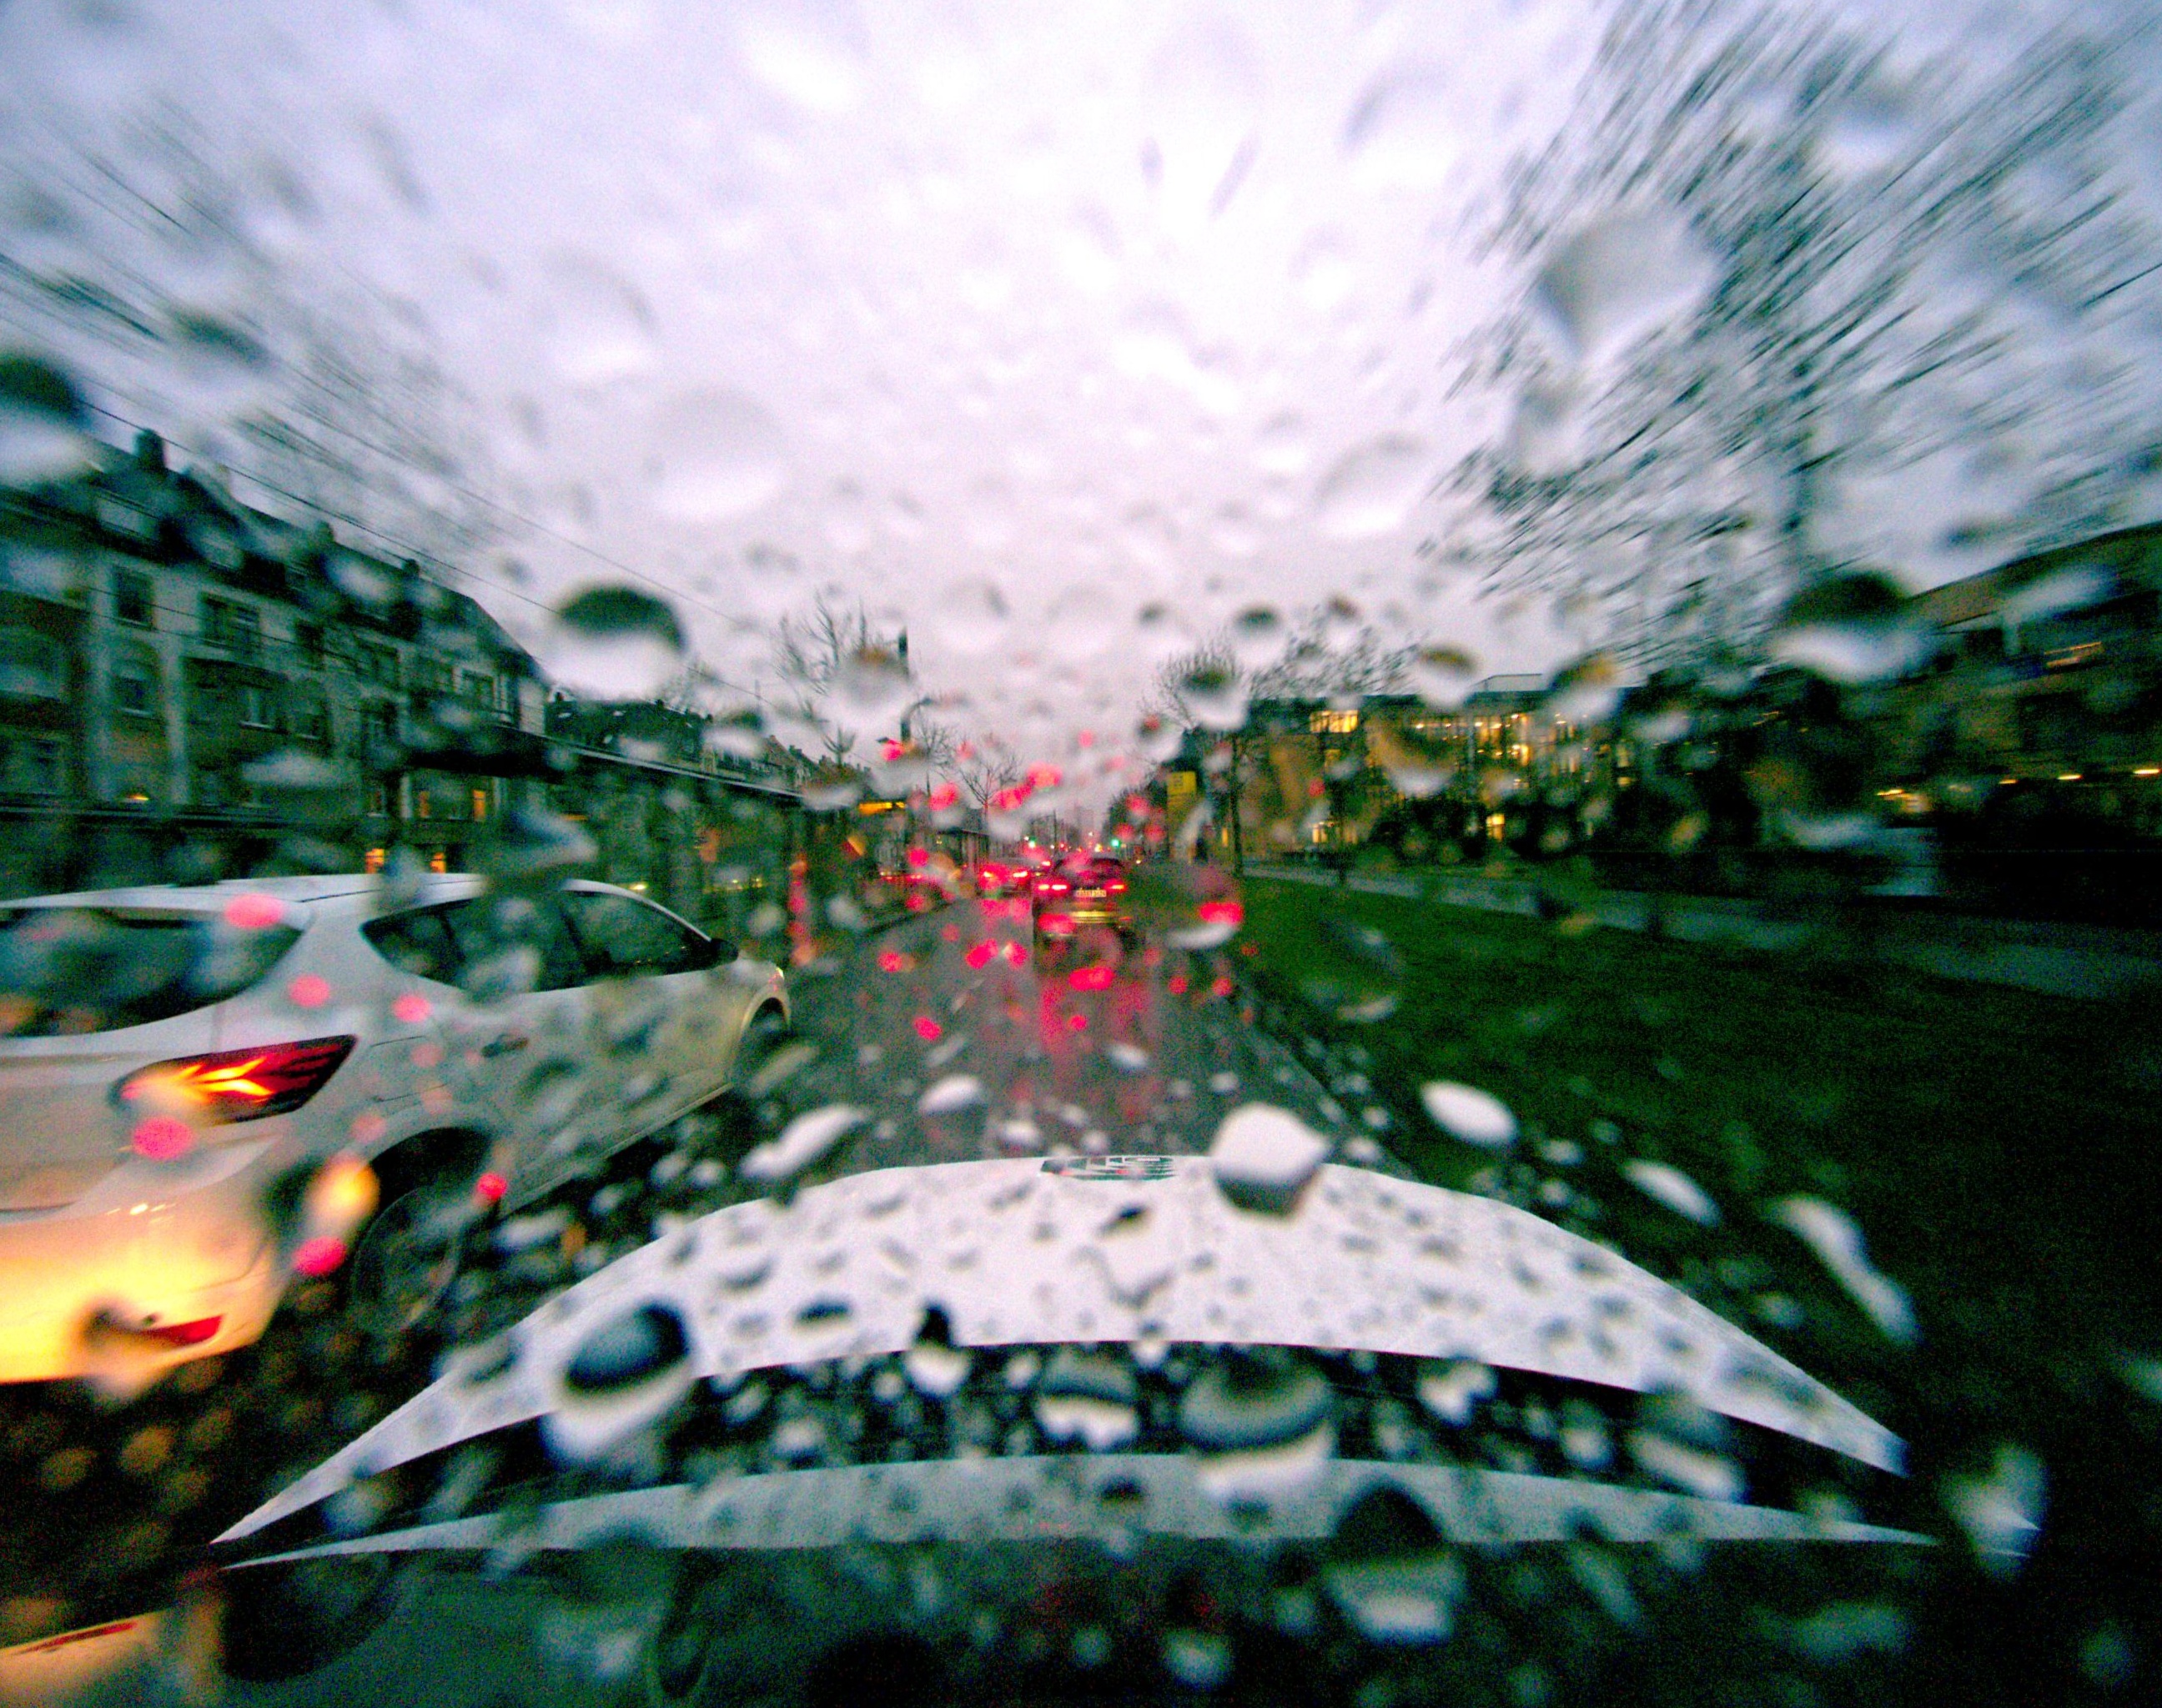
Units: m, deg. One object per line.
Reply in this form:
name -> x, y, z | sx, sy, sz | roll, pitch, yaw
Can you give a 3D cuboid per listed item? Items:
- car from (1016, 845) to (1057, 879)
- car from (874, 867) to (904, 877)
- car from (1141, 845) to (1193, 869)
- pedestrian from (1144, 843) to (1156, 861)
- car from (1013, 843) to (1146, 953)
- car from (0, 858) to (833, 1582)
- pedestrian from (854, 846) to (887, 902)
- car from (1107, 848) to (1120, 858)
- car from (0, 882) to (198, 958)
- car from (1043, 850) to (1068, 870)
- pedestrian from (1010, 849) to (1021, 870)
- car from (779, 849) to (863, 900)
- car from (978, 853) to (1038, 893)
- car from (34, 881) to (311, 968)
car -> -2.453, 0.439, 46.088 | 1.987, 1.765, 4.000 | -3, 0, 0
car -> -26.800, 2.474, 113.787 | 3.755, 1.156, 1.652 | -3, 0, 5
car -> 6.660, 0.235, 63.519 | 3.845, 1.560, 1.766 | -5, 0, 1
pedestrian -> 6.365, -0.217, 75.014 | 0.893, 1.596, 0.505 | -3, 0, 42
car -> 0.004, 0.667, 14.606 | 1.984, 1.616, 4.000 | -3, 0, 1
car -> -2.765, 0.841, 3.814 | 1.618, 1.487, 4.006 | -3, 1, 5
pedestrian -> -6.211, 0.586, 24.064 | 0.707, 1.606, 0.748 | -1, -1, 5
car -> 5.535, -0.138, 140.148 | 1.987, 1.598, 4.000 | -3, 0, 0
car -> -24.289, 1.551, 19.697 | 1.648, 1.490, 3.767 | -3, 0, 0
car -> -2.146, 0.469, 70.041 | 1.987, 1.618, 4.000 | -3, 0, 0
pedestrian -> -4.867, 0.384, 60.912 | 0.696, 1.552, 0.669 | -3, 0, 0
car -> -10.421, 0.776, 33.007 | 1.987, 1.823, 4.000 | -3, 0, 0
car -> -2.828, 0.725, 32.476 | 1.988, 1.398, 3.999 | -3, 0, -1
car -> -21.302, 1.581, 19.399 | 1.987, 1.616, 4.000 | -3, 0, 1
